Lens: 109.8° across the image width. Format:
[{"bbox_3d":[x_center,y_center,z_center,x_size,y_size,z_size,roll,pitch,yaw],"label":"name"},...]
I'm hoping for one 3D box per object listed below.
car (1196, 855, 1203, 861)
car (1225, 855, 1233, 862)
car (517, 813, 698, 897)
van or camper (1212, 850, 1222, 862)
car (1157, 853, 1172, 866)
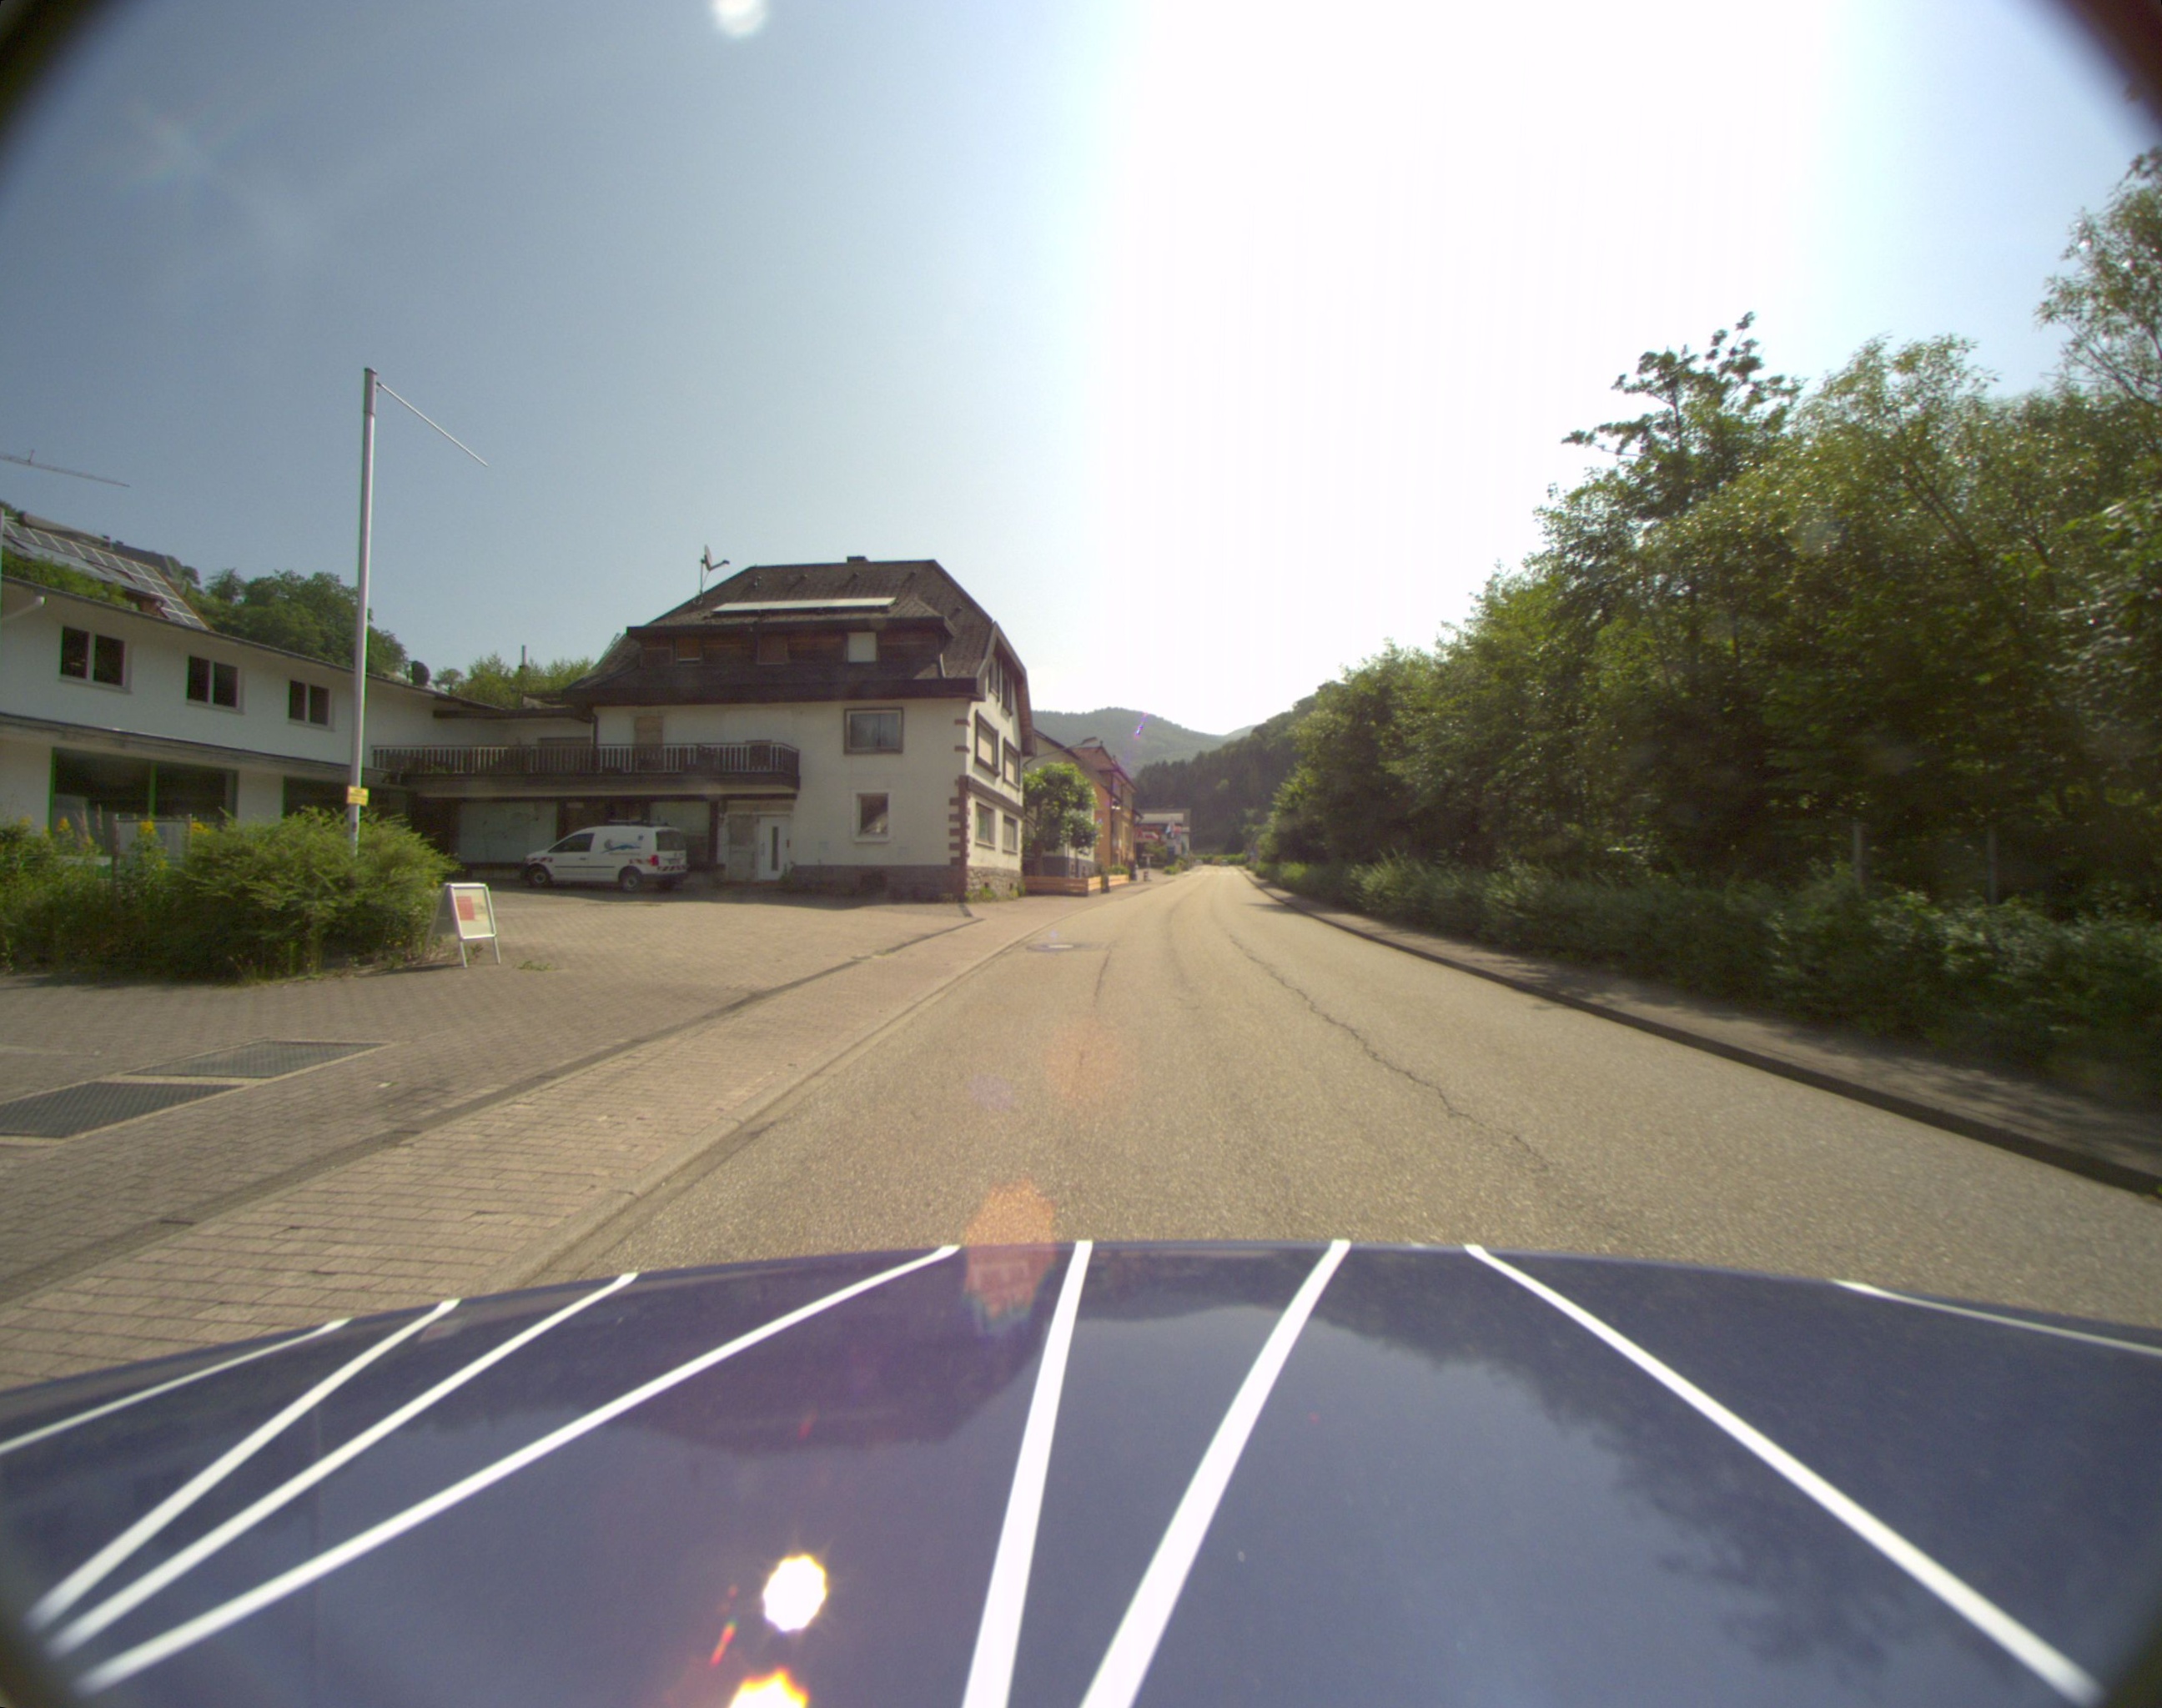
[{"bbox_3d":[30.131,1.031,192.564,1.607,1.398,3.830,2,1,11],"label":"car"},{"bbox_3d":[32.970,0.948,169.403,1.592,1.473,3.761,1,0,13],"label":"car"},{"bbox_3d":[-13.257,0.000,21.404,4.015,1.973,1.636,4,2,2],"label":"car"},{"bbox_3d":[33.847,0.503,188.982,2.362,2.935,8.059,1,0,11],"label":"van or camper"},{"bbox_3d":[11.912,0.774,108.200,1.694,1.568,3.914,4,1,12],"label":"car"}]
